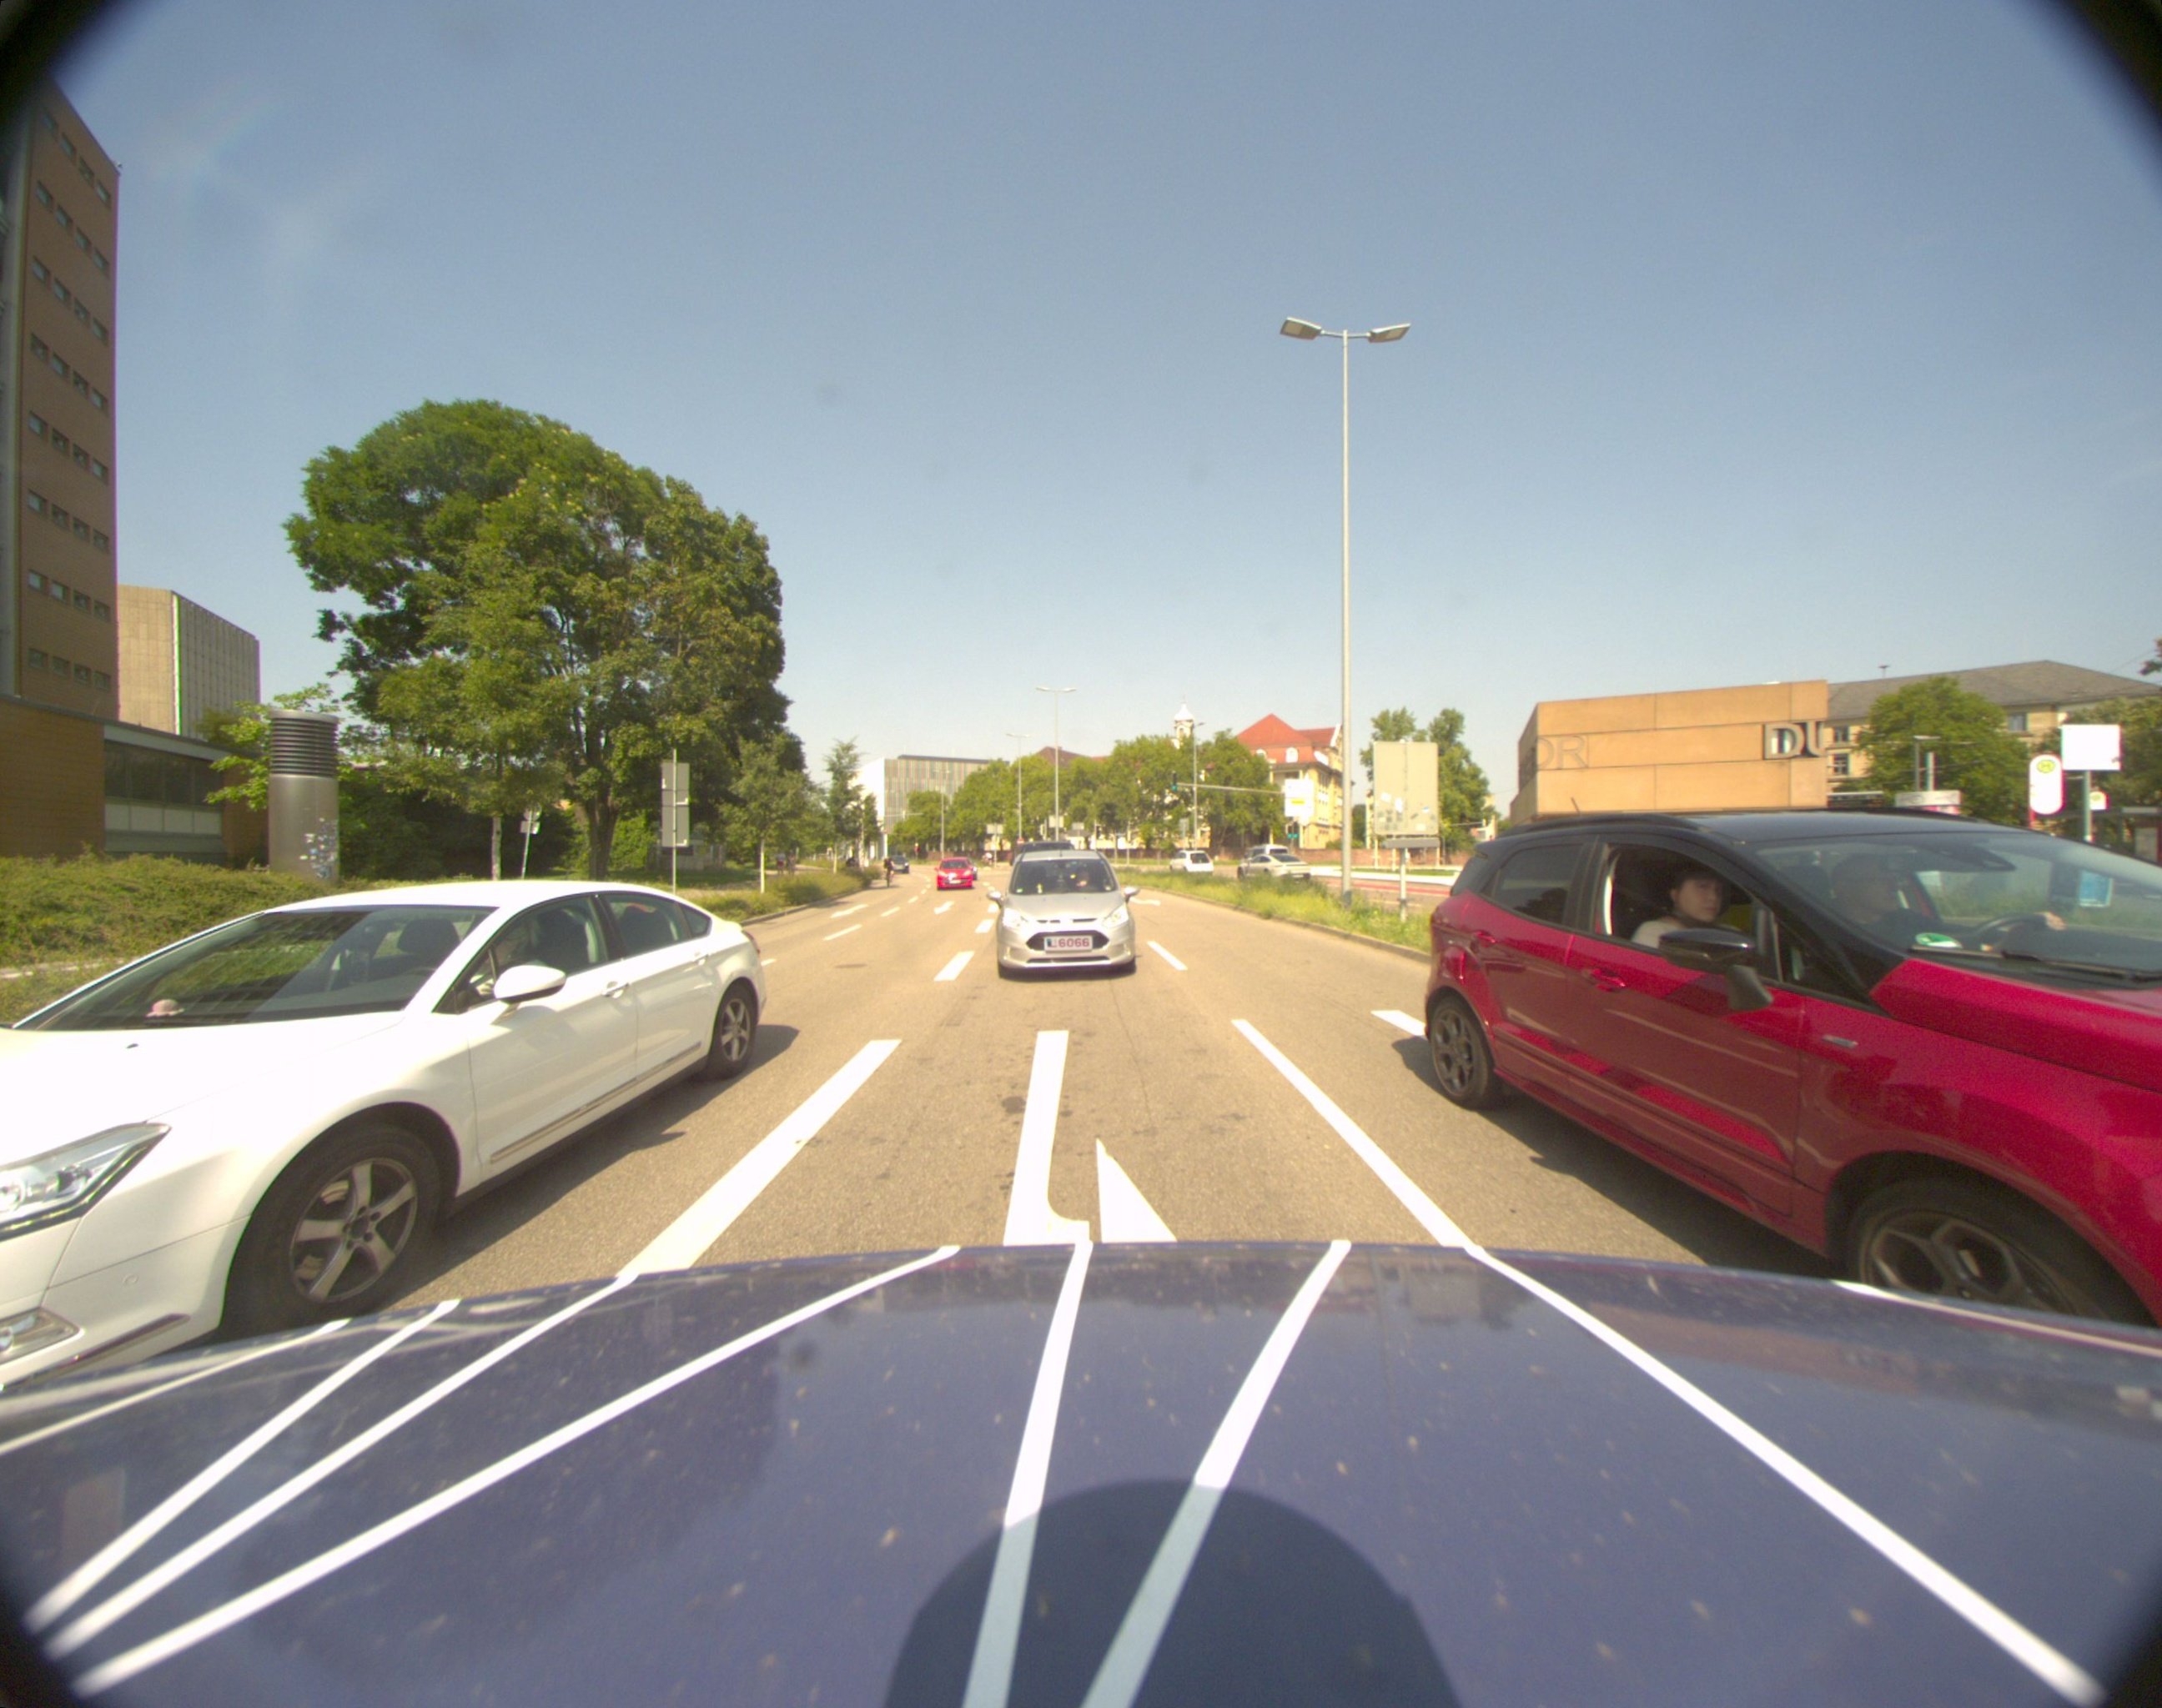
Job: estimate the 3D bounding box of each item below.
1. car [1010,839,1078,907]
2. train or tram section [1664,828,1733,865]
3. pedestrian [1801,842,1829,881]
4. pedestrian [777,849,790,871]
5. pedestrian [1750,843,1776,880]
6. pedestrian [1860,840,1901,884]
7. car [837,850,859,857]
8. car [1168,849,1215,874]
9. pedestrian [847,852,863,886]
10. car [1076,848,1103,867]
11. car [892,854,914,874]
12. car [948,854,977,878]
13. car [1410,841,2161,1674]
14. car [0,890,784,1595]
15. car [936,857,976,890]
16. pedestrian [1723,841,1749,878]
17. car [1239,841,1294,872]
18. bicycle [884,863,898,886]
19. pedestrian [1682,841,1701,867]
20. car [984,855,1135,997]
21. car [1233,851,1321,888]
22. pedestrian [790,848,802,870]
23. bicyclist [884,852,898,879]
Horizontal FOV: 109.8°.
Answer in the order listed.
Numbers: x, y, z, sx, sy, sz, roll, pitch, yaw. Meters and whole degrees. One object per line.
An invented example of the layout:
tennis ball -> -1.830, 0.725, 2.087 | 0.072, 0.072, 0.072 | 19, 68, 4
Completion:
car -> -1.148, 0.534, 23.905 | 1.891, 1.908, 4.532 | -2, 0, -2
train or tram section -> 62.126, -0.731, 76.813 | 2.698, 3.419, 13.445 | 0, 0, 27
pedestrian -> 28.249, 0.269, 29.243 | 0.539, 1.488, 0.541 | 0, 1, -2
pedestrian -> -17.512, 0.342, 44.695 | 0.635, 1.291, 0.486 | -3, 2, -18
pedestrian -> 27.283, 0.298, 30.382 | 0.539, 1.488, 0.541 | 0, 1, -2
pedestrian -> 27.449, 0.261, 26.091 | 0.771, 1.488, 0.606 | 0, 1, -2
car -> -53.268, -0.158, 173.451 | 4.429, 1.380, 1.767 | -2, 0, -37
car -> 6.661, 0.446, 46.196 | 1.527, 1.470, 3.472 | -1, 0, -15
pedestrian -> -12.599, 0.843, 42.406 | 0.823, 1.892, 0.630 | -1, 1, -13
car -> 0.612, 0.246, 58.695 | 1.526, 1.417, 3.474 | 0, 0, -9
car -> -15.709, 0.849, 67.022 | 1.812, 1.652, 3.995 | 0, 0, -13
car -> -7.224, 0.726, 46.315 | 1.566, 1.387, 3.246 | -1, 0, -12
car -> 2.911, 0.771, 2.786 | 1.694, 1.577, 3.844 | -2, 0, 0
car -> -3.326, 1.012, 3.682 | 1.773, 1.420, 4.610 | 0, 0, 3
car -> -5.827, 0.861, 35.839 | 1.651, 1.422, 3.813 | -2, 0, -7
pedestrian -> 26.213, 0.209, 30.421 | 0.539, 1.488, 0.541 | 0, 1, -2
car -> 11.470, 0.147, 47.283 | 1.869, 1.843, 3.911 | 0, 1, -10
bicycle -> -10.038, 1.050, 40.130 | 0.595, 1.162, 2.232 | -1, 0, -17
pedestrian -> 26.146, -0.010, 32.534 | 0.538, 1.093, 0.543 | 0, 1, 31
car -> -0.256, 0.819, 10.875 | 1.659, 1.521, 4.533 | -2, 0, 0
car -> 8.975, 0.650, 35.327 | 2.001, 1.576, 4.709 | 0, 0, -13
pedestrian -> -16.839, 0.305, 44.851 | 0.577, 1.291, 0.436 | -3, 2, -19
bicyclist -> -10.047, 0.608, 40.191 | 0.680, 1.392, 1.048 | -1, 1, -17
